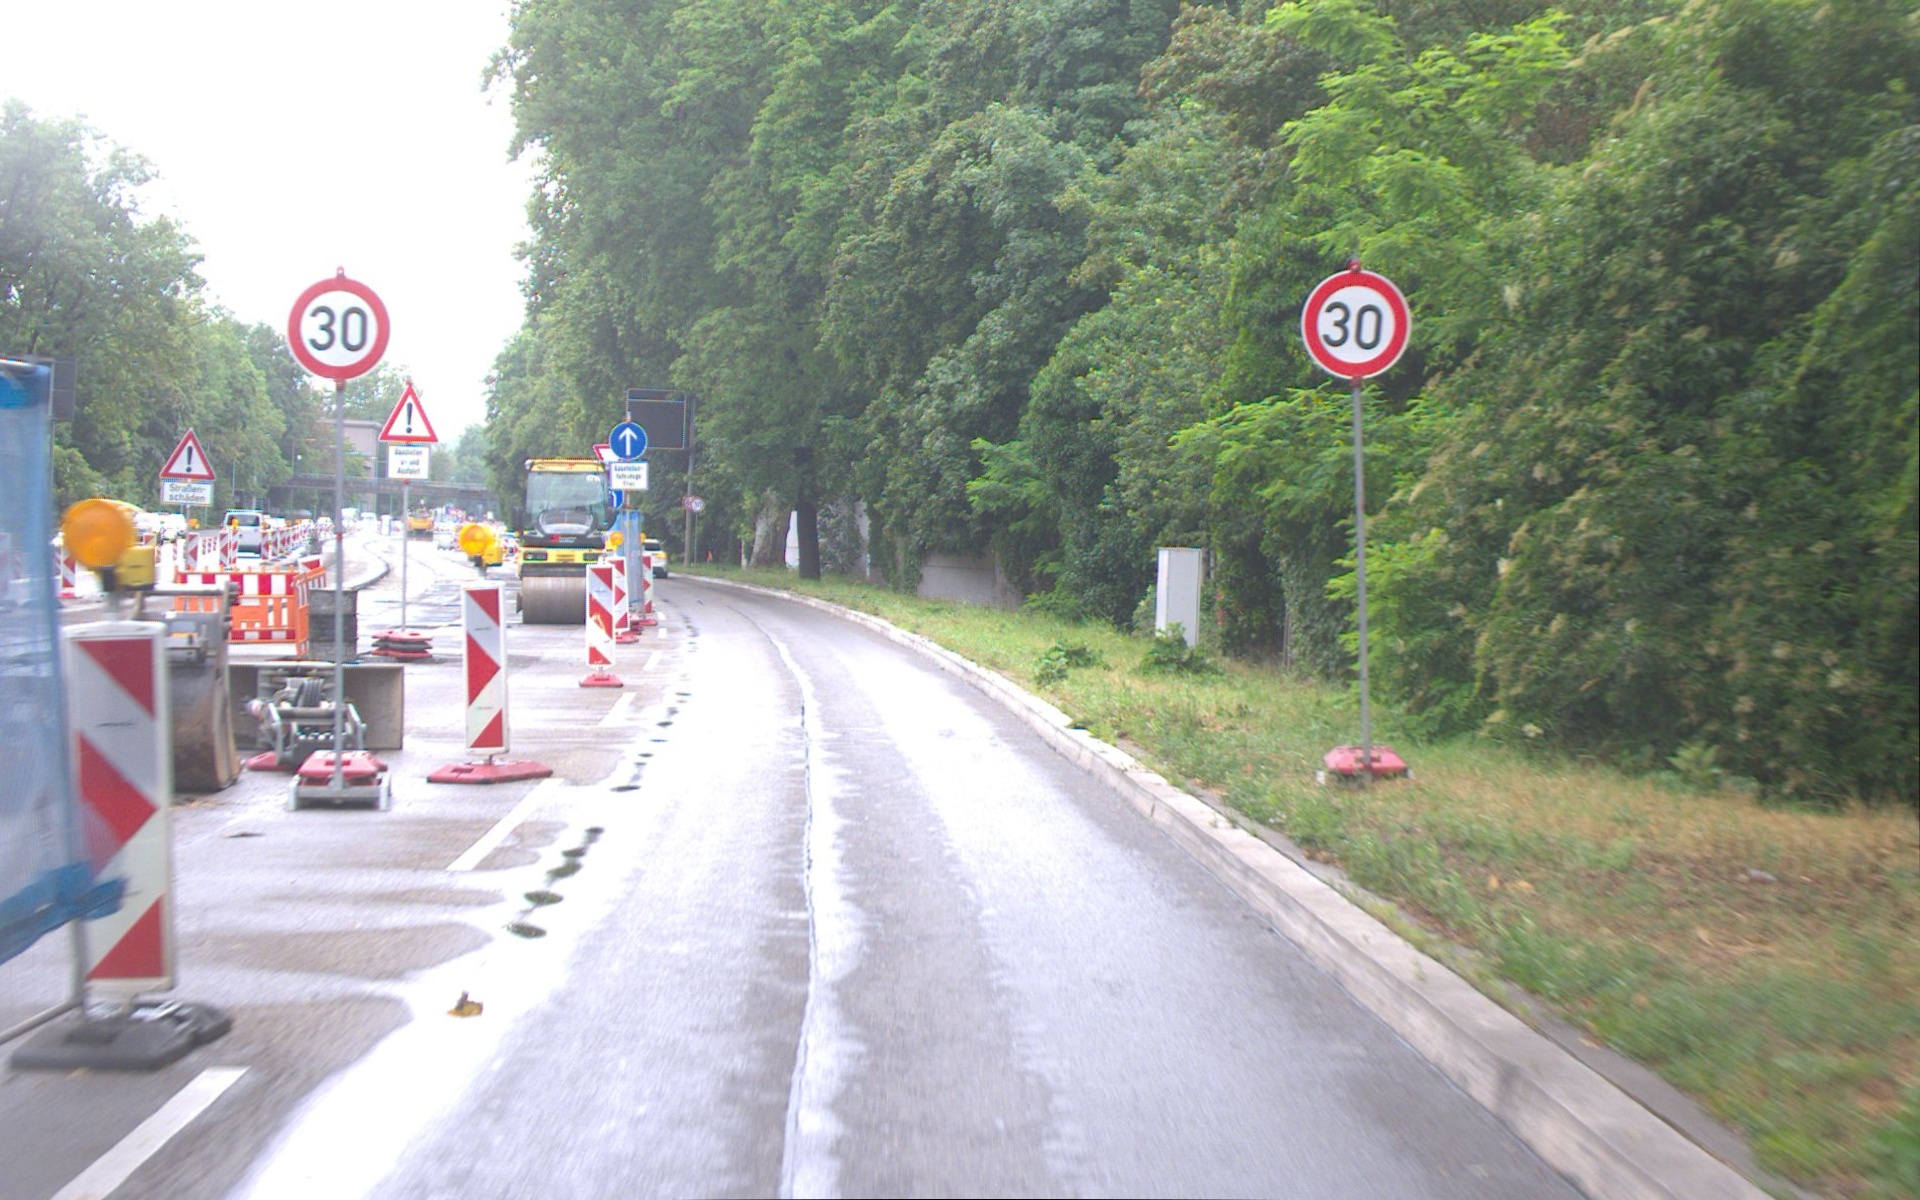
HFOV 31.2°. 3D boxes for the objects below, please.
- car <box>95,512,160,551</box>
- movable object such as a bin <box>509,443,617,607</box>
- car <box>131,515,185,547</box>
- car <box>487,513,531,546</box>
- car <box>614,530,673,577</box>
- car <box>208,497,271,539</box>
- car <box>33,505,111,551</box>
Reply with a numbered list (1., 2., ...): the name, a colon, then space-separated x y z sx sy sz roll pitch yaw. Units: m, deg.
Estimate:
1. car: -36.758 -3.020 151.963 1.927 1.659 4.653 1 1 -3
2. movable object such as a bin: -7.148 -1.356 62.134 1.746 2.857 3.535 1 1 -4
3. car: -41.810 -3.602 179.287 1.927 1.659 4.653 1 1 -3
4. car: -23.581 -3.692 179.709 1.875 1.612 4.001 3 2 -3
5. car: -11.698 -1.748 127.244 1.914 1.592 4.834 2 2 -3
6. car: -31.432 -3.552 150.082 1.927 1.772 4.653 1 1 -3
7. car: -33.452 -2.709 129.582 1.927 1.659 4.653 1 1 -3
